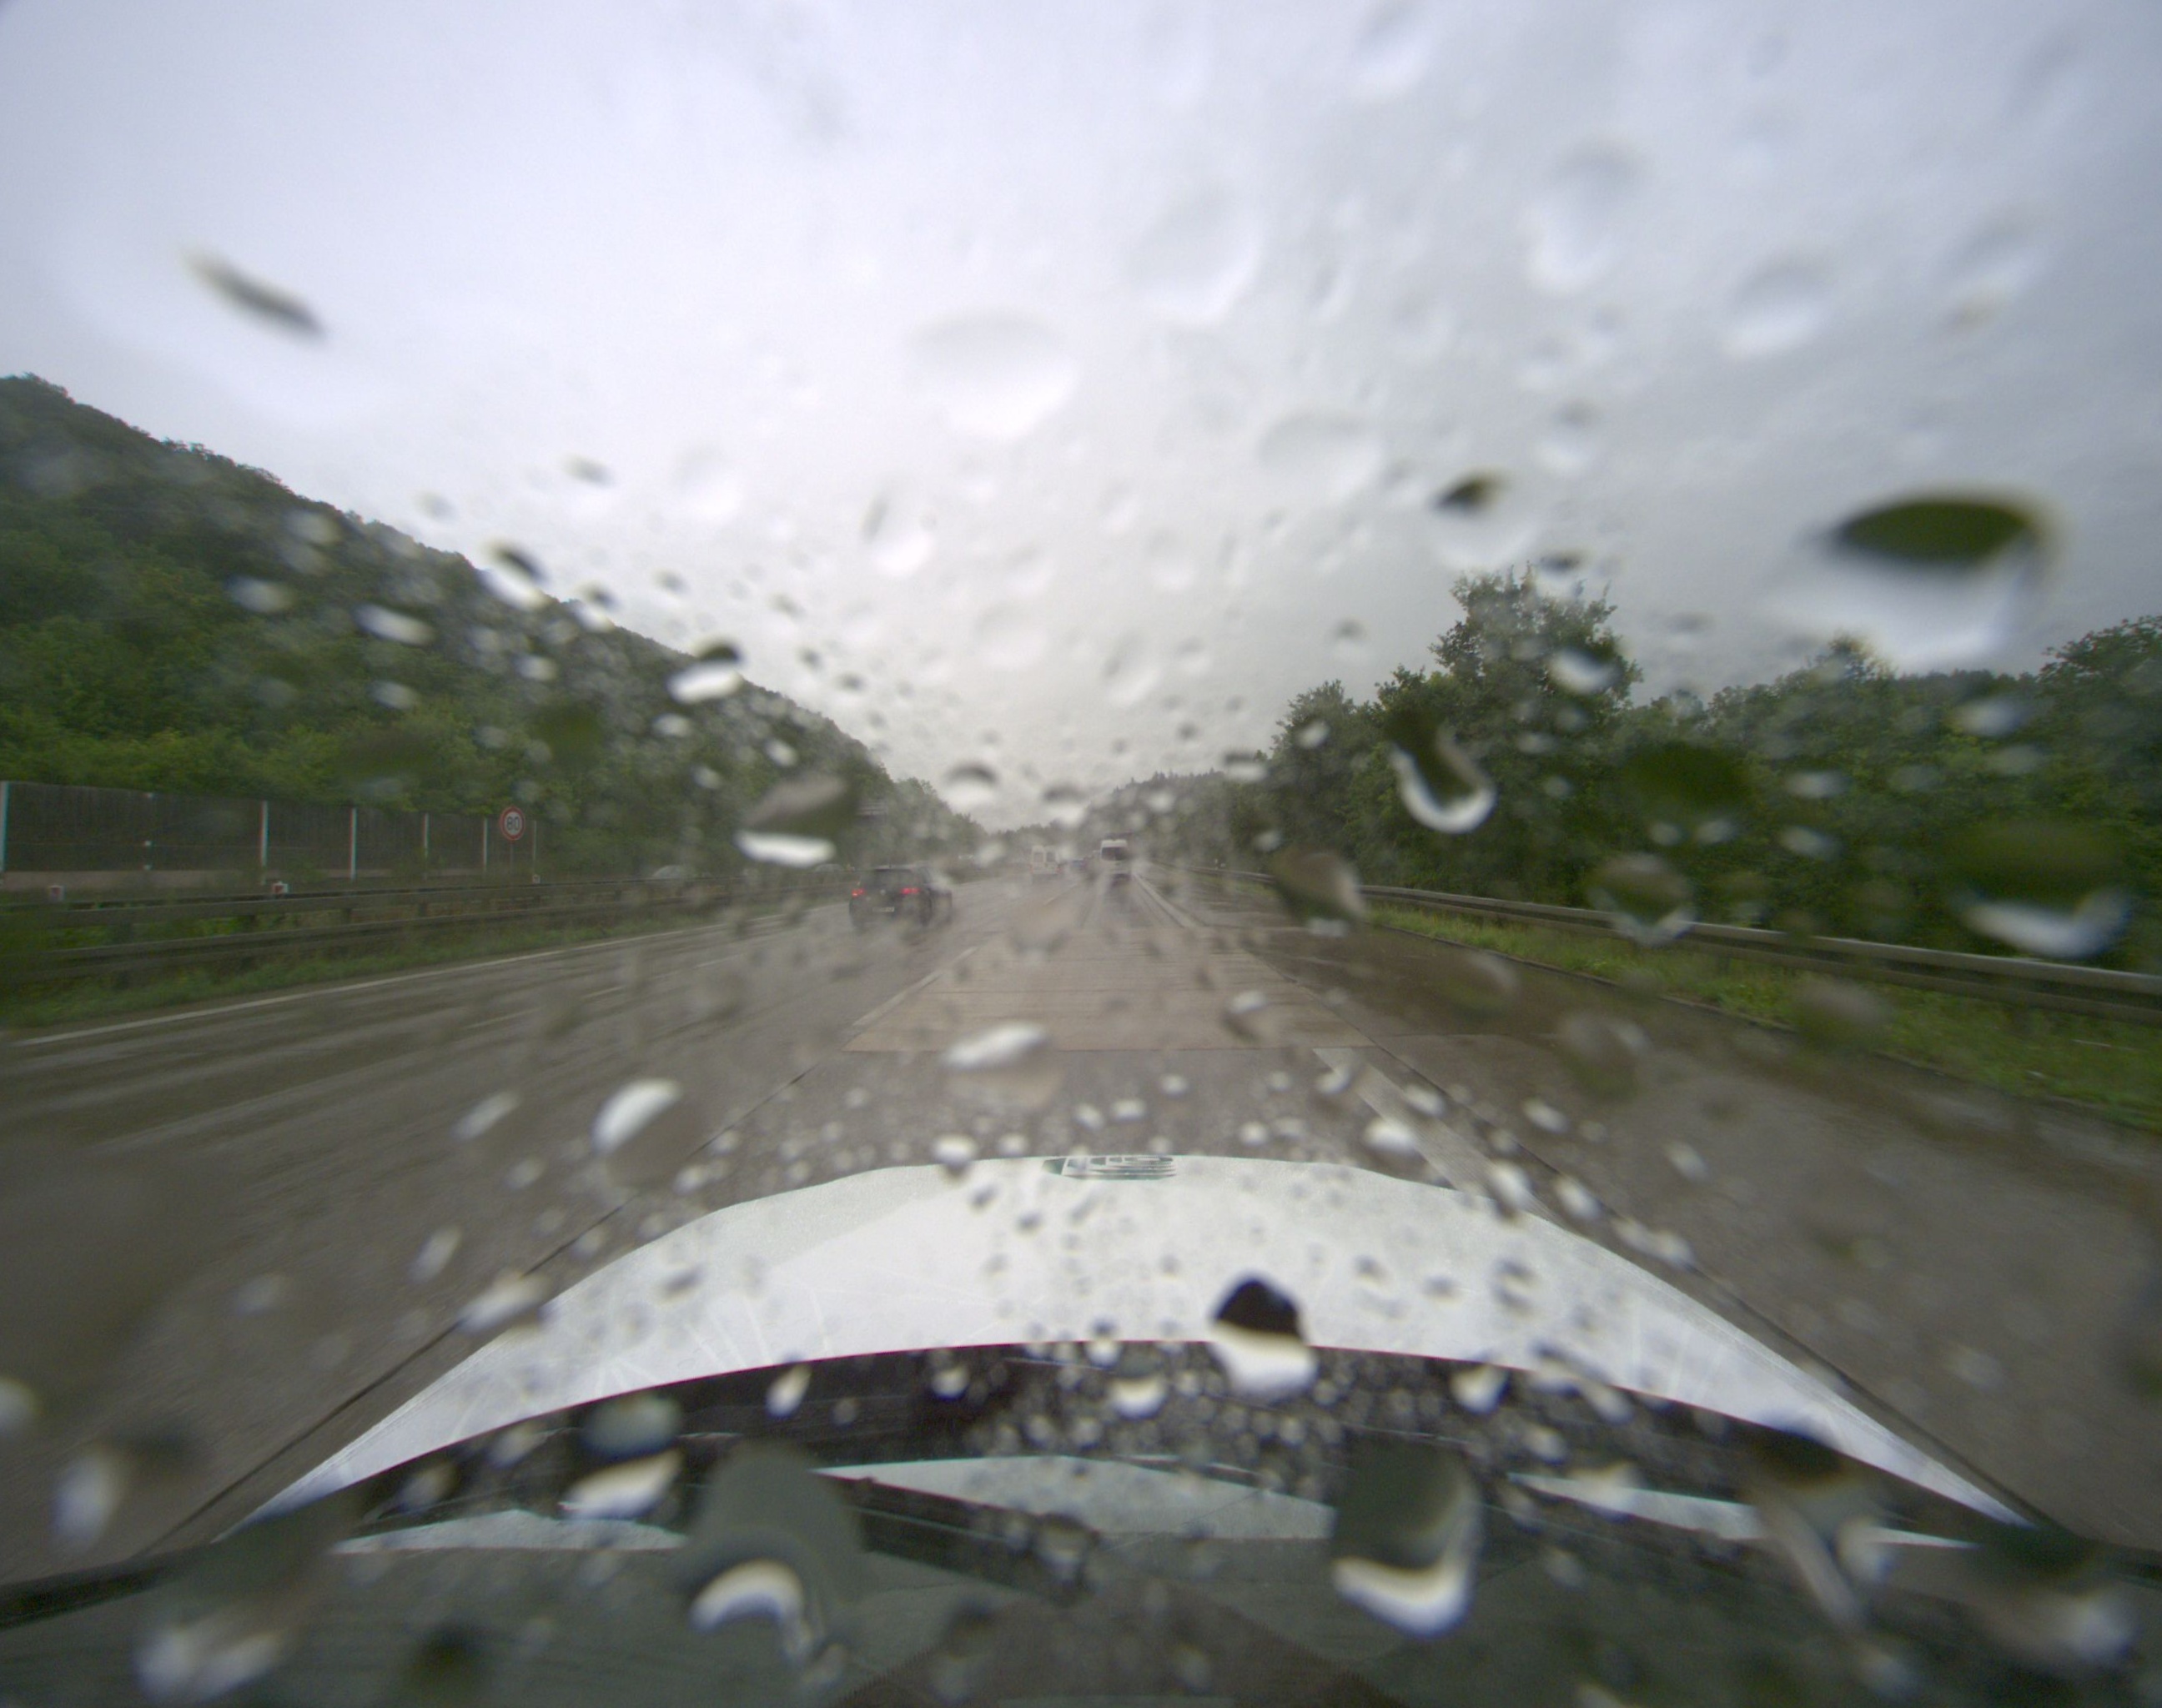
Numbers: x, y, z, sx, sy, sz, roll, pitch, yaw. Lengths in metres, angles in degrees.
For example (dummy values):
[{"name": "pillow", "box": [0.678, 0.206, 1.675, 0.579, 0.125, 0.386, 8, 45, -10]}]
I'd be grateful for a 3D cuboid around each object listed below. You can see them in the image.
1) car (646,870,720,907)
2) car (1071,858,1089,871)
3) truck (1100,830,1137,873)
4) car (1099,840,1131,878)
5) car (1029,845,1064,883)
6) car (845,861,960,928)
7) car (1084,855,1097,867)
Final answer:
[{"name": "car", "box": [-20.099, 1.708, 41.291, 1.792, 1.662, 3.998, -1, 0, -1]}, {"name": "car", "box": [-0.159, 1.129, 86.751, 1.851, 1.339, 4.349, 0, 0, -1]}, {"name": "truck", "box": [3.711, -0.381, 81.348, 3.372, 3.968, 8.671, -2, 1, 2]}, {"name": "car", "box": [2.101, 0.312, 51.559, 1.893, 2.334, 5.251, 0, 0, 1]}, {"name": "car", "box": [-2.257, 0.662, 54.936, 1.991, 2.432, 5.791, 0, 0, 1]}, {"name": "car", "box": [-4.149, 0.894, 19.633, 1.735, 1.388, 4.321, -2, -1, 1]}, {"name": "car", "box": [1.430, 1.106, 123.805, 1.862, 1.810, 4.189, 0, 0, 1]}]
